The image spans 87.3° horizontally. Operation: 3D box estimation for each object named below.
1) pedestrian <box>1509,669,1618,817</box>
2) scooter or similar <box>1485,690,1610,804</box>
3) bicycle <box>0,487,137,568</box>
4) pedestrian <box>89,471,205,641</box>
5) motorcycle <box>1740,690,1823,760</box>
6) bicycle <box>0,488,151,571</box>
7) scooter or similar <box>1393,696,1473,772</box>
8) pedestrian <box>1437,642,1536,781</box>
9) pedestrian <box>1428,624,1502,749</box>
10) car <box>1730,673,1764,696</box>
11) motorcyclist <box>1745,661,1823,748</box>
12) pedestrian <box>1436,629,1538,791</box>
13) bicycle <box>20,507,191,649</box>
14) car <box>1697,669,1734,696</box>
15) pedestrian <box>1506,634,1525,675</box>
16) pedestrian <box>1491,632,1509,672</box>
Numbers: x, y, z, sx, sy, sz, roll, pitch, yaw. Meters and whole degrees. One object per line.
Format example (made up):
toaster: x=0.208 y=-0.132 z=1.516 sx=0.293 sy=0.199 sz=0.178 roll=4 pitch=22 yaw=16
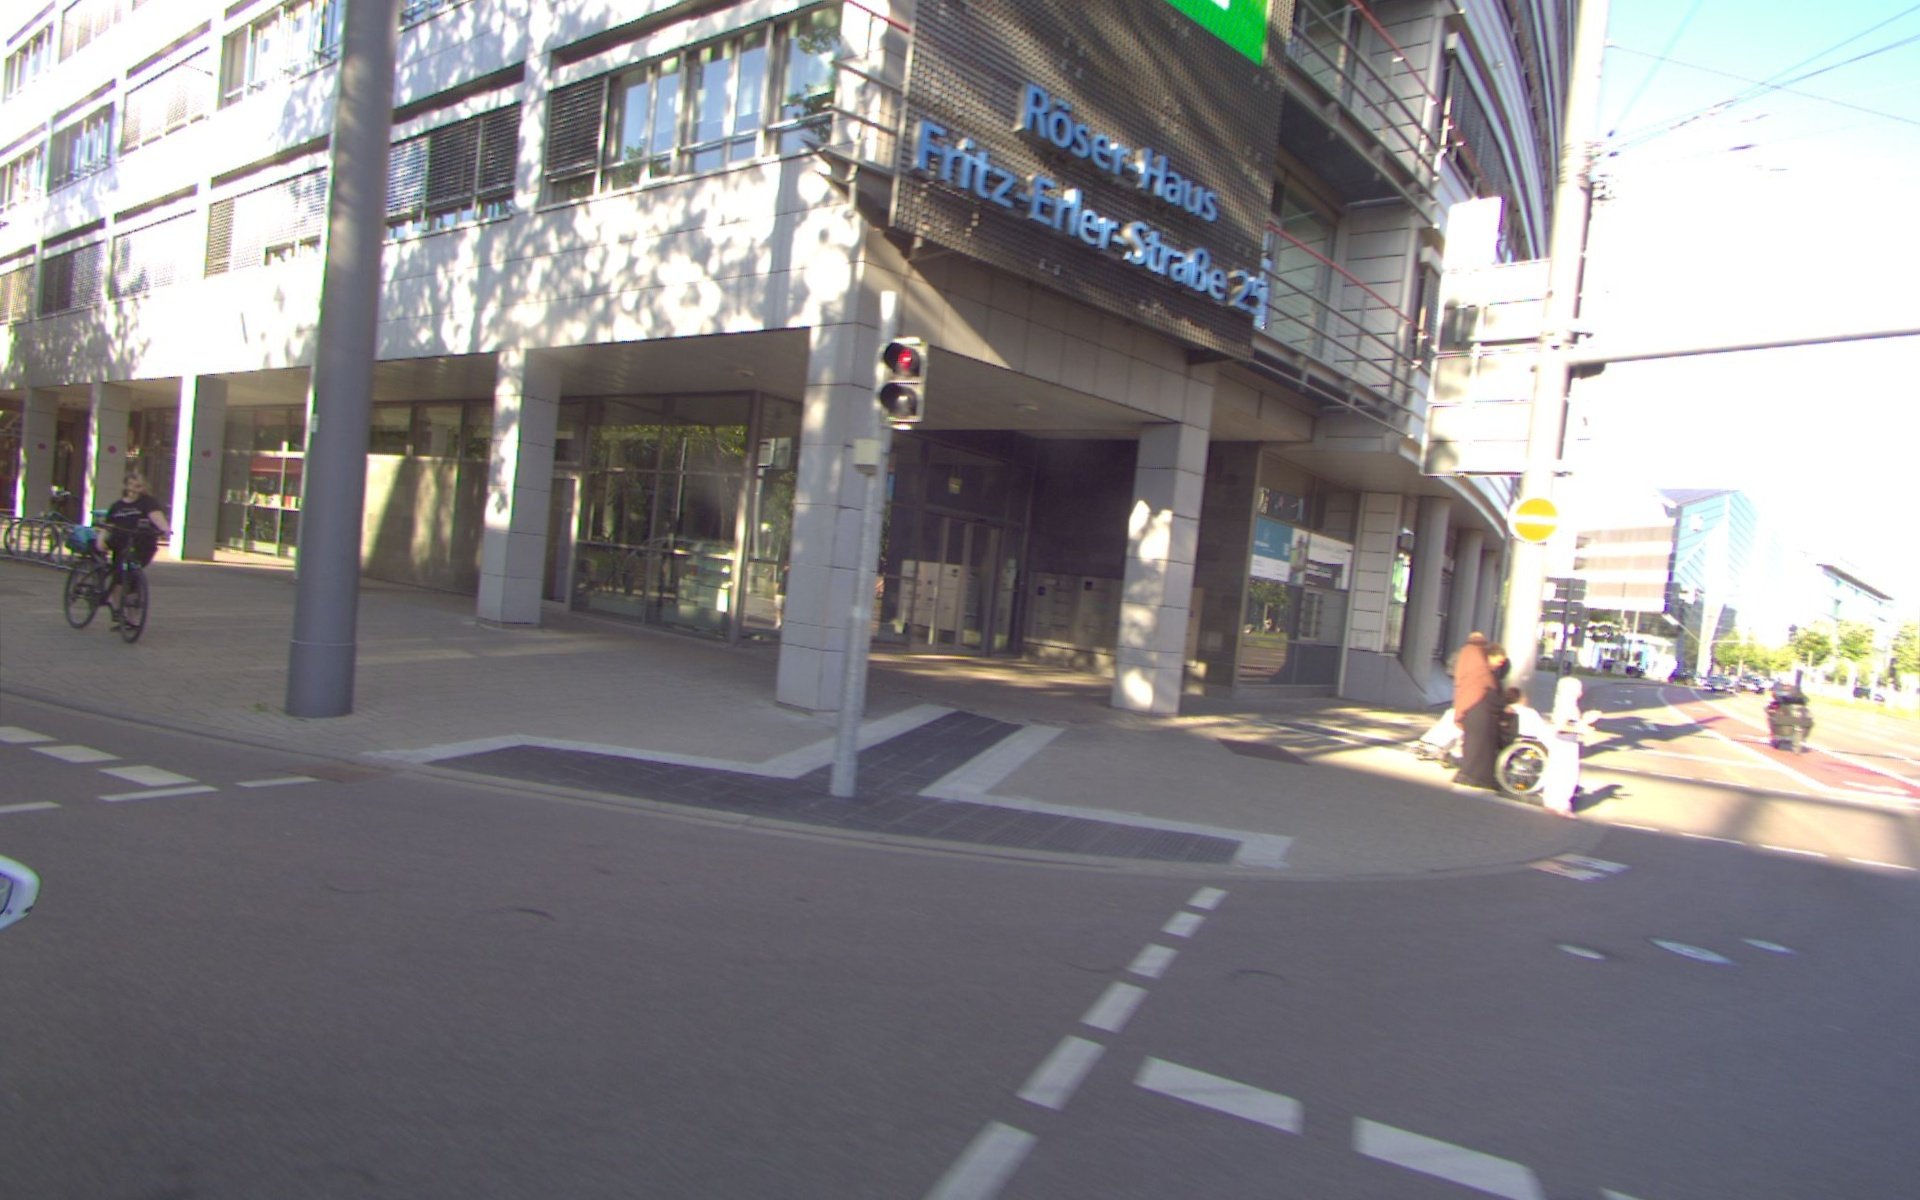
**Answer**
pedestrian: x=6.338 y=1.493 z=10.584 sx=0.627 sy=1.420 sz=0.545 roll=6 pitch=2 yaw=-7
scooter or similar: x=6.776 y=1.686 z=11.627 sx=1.000 sy=1.144 sz=0.549 roll=6 pitch=2 yaw=-7
bicycle: x=-14.820 y=-1.178 z=16.613 sx=0.462 sy=1.167 sz=1.834 roll=7 pitch=3 yaw=28
pedestrian: x=-8.414 y=-0.458 z=10.410 sx=0.822 sy=1.634 sz=0.605 roll=8 pitch=6 yaw=25
motorcycle: x=18.238 y=2.728 z=22.406 sx=0.971 sy=1.247 sz=2.934 roll=7 pitch=1 yaw=33
bicycle: x=-14.411 y=-1.120 z=16.387 sx=0.462 sy=1.167 sz=1.834 roll=7 pitch=3 yaw=28
scooter or similar: x=6.025 y=1.698 z=12.843 sx=0.606 sy=0.801 sz=0.659 roll=7 pitch=2 yaw=-2
pedestrian: x=6.726 y=1.407 z=12.875 sx=0.691 sy=1.621 sz=0.659 roll=7 pitch=2 yaw=-2
pedestrian: x=7.520 y=1.271 z=14.981 sx=0.680 sy=1.737 sz=0.642 roll=8 pitch=3 yaw=41
car: x=68.305 y=7.284 z=87.364 sx=1.856 sy=1.623 sz=3.987 roll=7 pitch=2 yaw=33
motorcyclist: x=18.377 y=2.292 z=22.491 sx=1.005 sy=1.753 sz=1.456 roll=7 pitch=2 yaw=33
pedestrian: x=6.014 y=1.243 z=11.506 sx=0.627 sy=1.731 sz=0.580 roll=6 pitch=2 yaw=-7
bicycle: x=-8.547 y=-0.242 z=10.046 sx=1.815 sy=1.180 sz=0.611 roll=8 pitch=6 yaw=26
car: x=59.486 y=6.480 z=79.253 sx=1.743 sy=1.747 sz=3.896 roll=7 pitch=2 yaw=30
pedestrian: x=24.764 y=2.412 z=44.855 sx=0.540 sy=1.756 sz=0.640 roll=7 pitch=2 yaw=28
pedestrian: x=24.226 y=2.335 z=45.138 sx=0.540 sy=1.756 sz=0.640 roll=7 pitch=2 yaw=28
